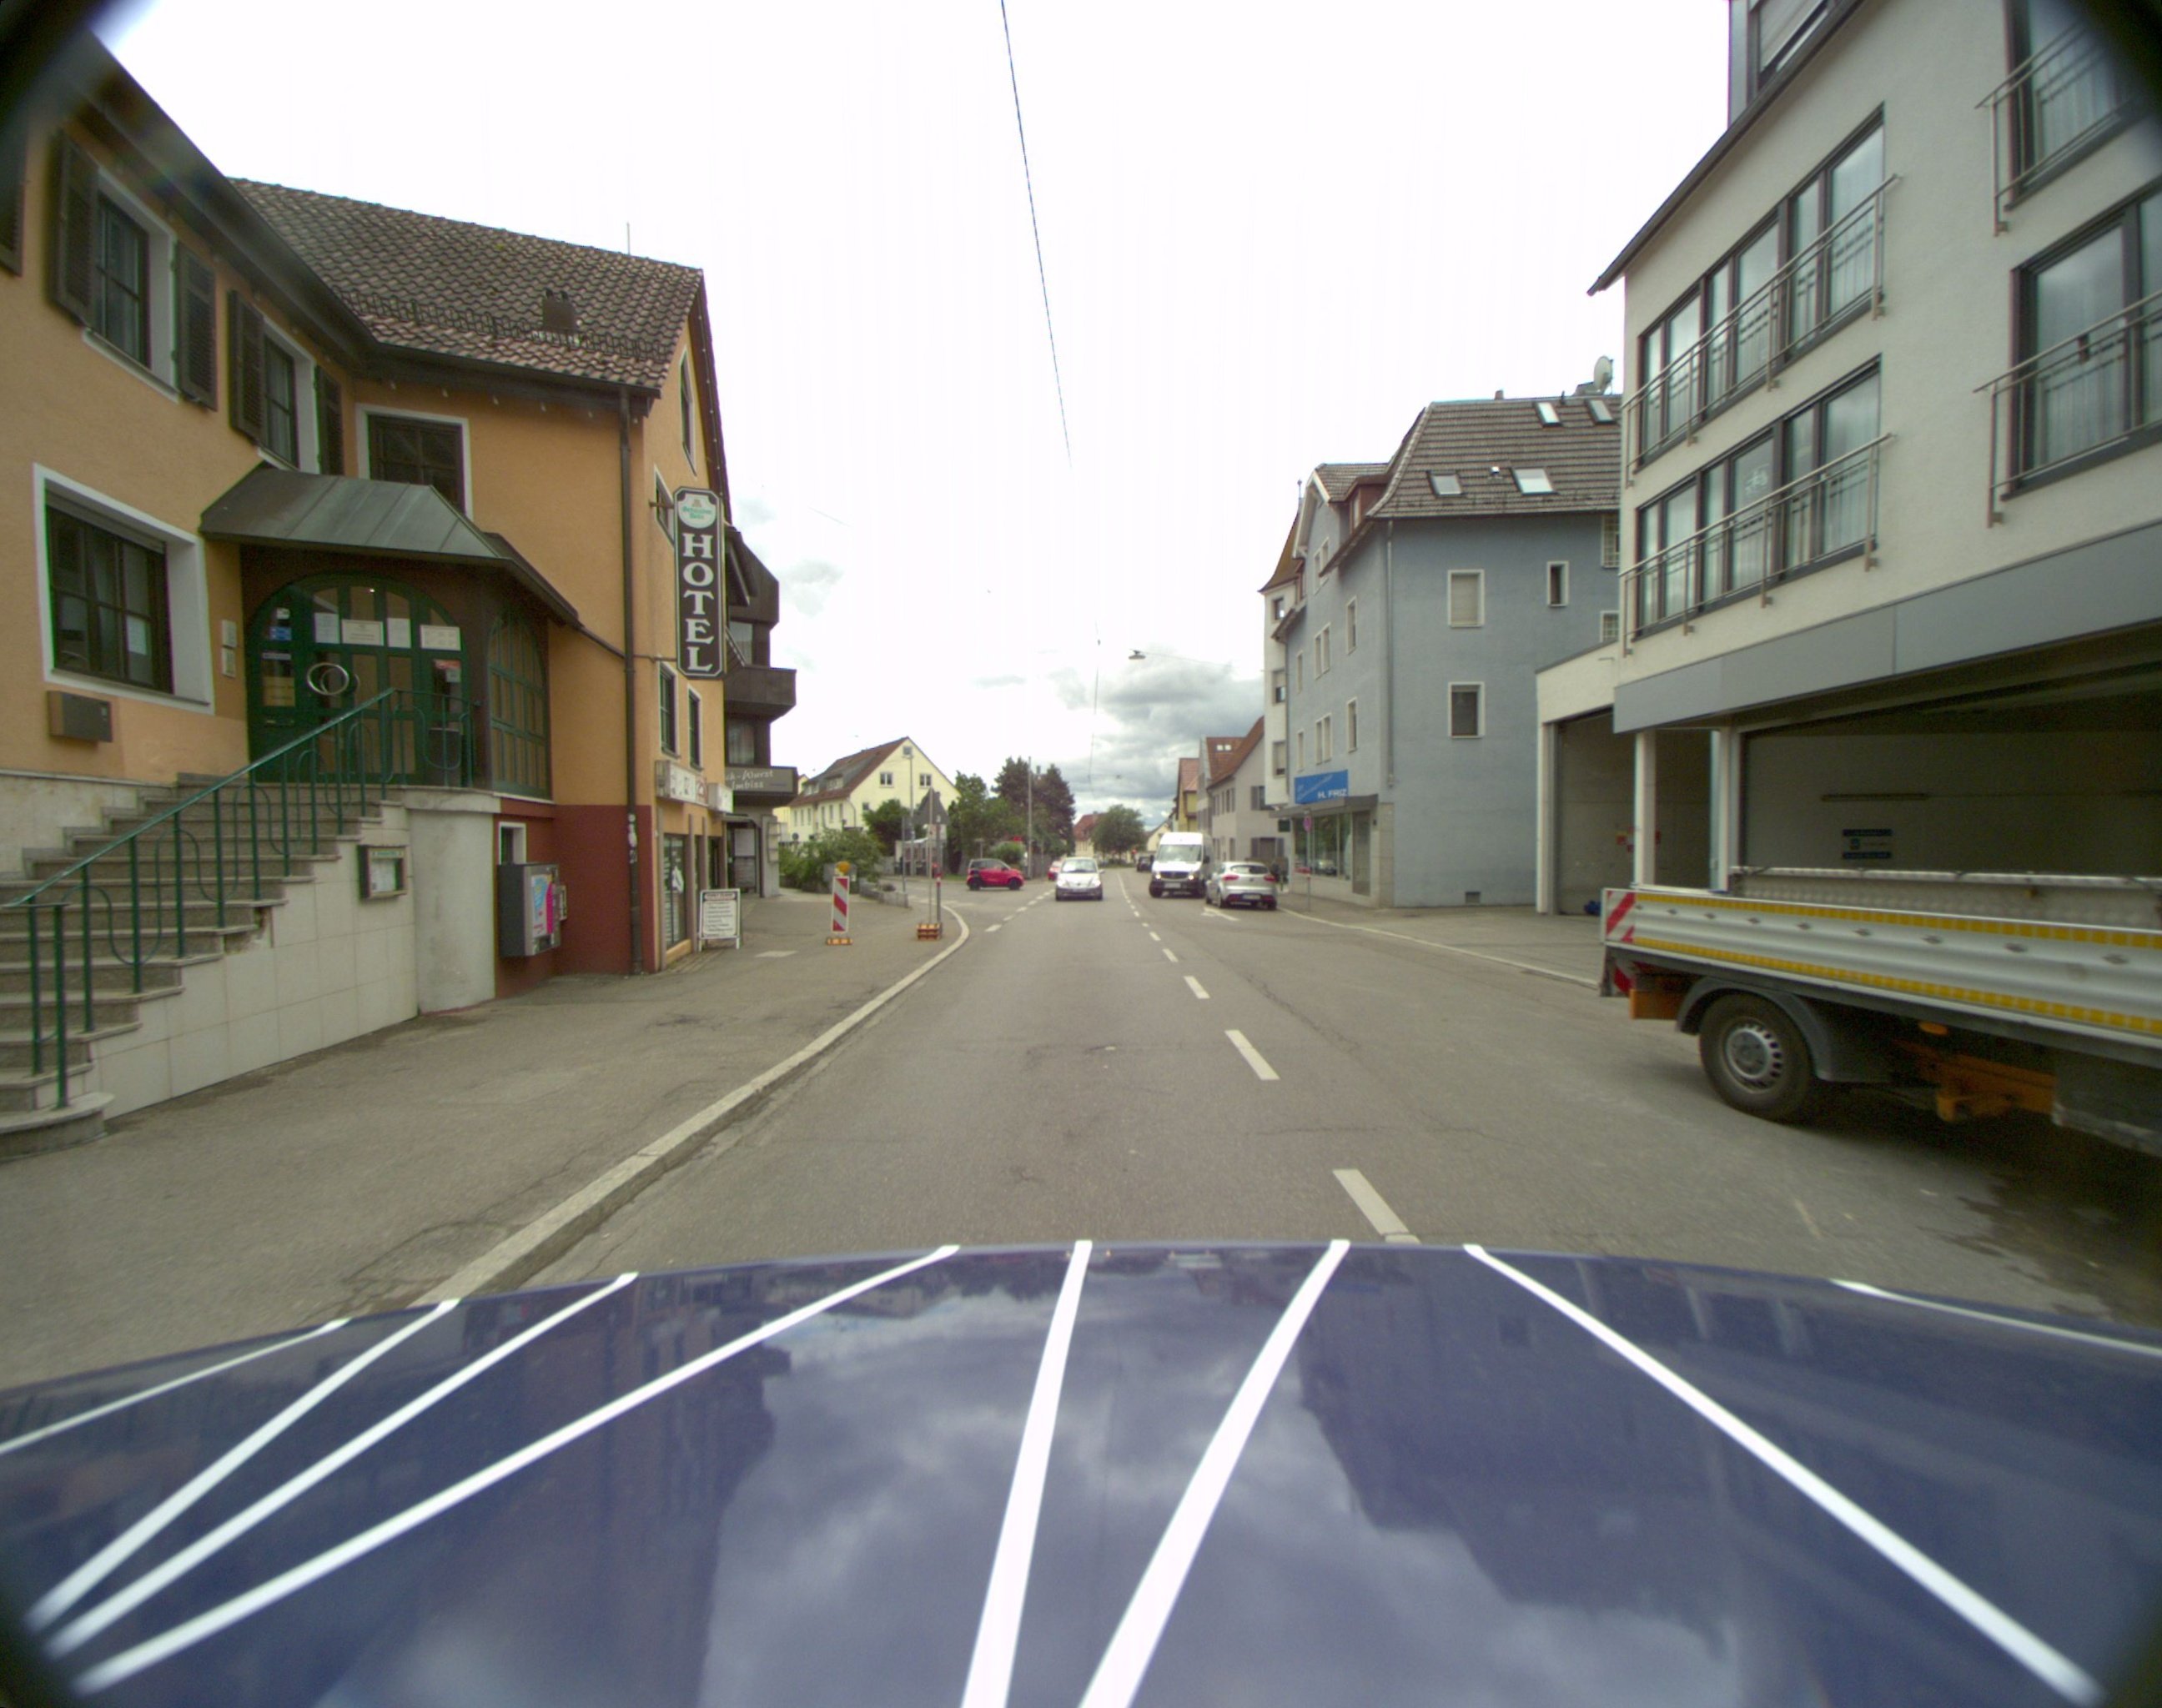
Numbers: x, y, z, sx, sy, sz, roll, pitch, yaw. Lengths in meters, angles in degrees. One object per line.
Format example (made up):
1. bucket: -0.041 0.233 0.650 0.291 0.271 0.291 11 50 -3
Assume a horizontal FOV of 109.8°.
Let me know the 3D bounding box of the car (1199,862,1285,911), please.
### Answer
1. car: 5.032 0.971 24.247 1.802 1.403 3.999 0 0 -2

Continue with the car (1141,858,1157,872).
1. car: 8.005 1.312 89.436 1.717 1.558 4.353 0 0 2

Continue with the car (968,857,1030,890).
1. car: -4.042 0.928 37.139 2.939 1.511 1.819 0 0 -9

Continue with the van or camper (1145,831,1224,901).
1. van or camper: 4.404 0.460 31.318 2.322 2.592 6.216 0 0 16

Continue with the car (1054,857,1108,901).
1. car: 0.081 0.906 29.069 1.857 1.547 4.353 0 0 2

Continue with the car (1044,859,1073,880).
1. car: -1.653 1.131 57.050 1.718 1.472 4.001 0 0 4

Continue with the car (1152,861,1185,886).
1. car: 5.606 1.247 49.094 1.863 1.465 4.354 2 0 4

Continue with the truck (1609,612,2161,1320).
1. truck: 4.944 0.385 2.301 2.419 2.451 6.308 0 0 1

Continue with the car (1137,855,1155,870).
1. car: 8.227 1.024 96.348 2.111 1.838 4.353 0 0 2
